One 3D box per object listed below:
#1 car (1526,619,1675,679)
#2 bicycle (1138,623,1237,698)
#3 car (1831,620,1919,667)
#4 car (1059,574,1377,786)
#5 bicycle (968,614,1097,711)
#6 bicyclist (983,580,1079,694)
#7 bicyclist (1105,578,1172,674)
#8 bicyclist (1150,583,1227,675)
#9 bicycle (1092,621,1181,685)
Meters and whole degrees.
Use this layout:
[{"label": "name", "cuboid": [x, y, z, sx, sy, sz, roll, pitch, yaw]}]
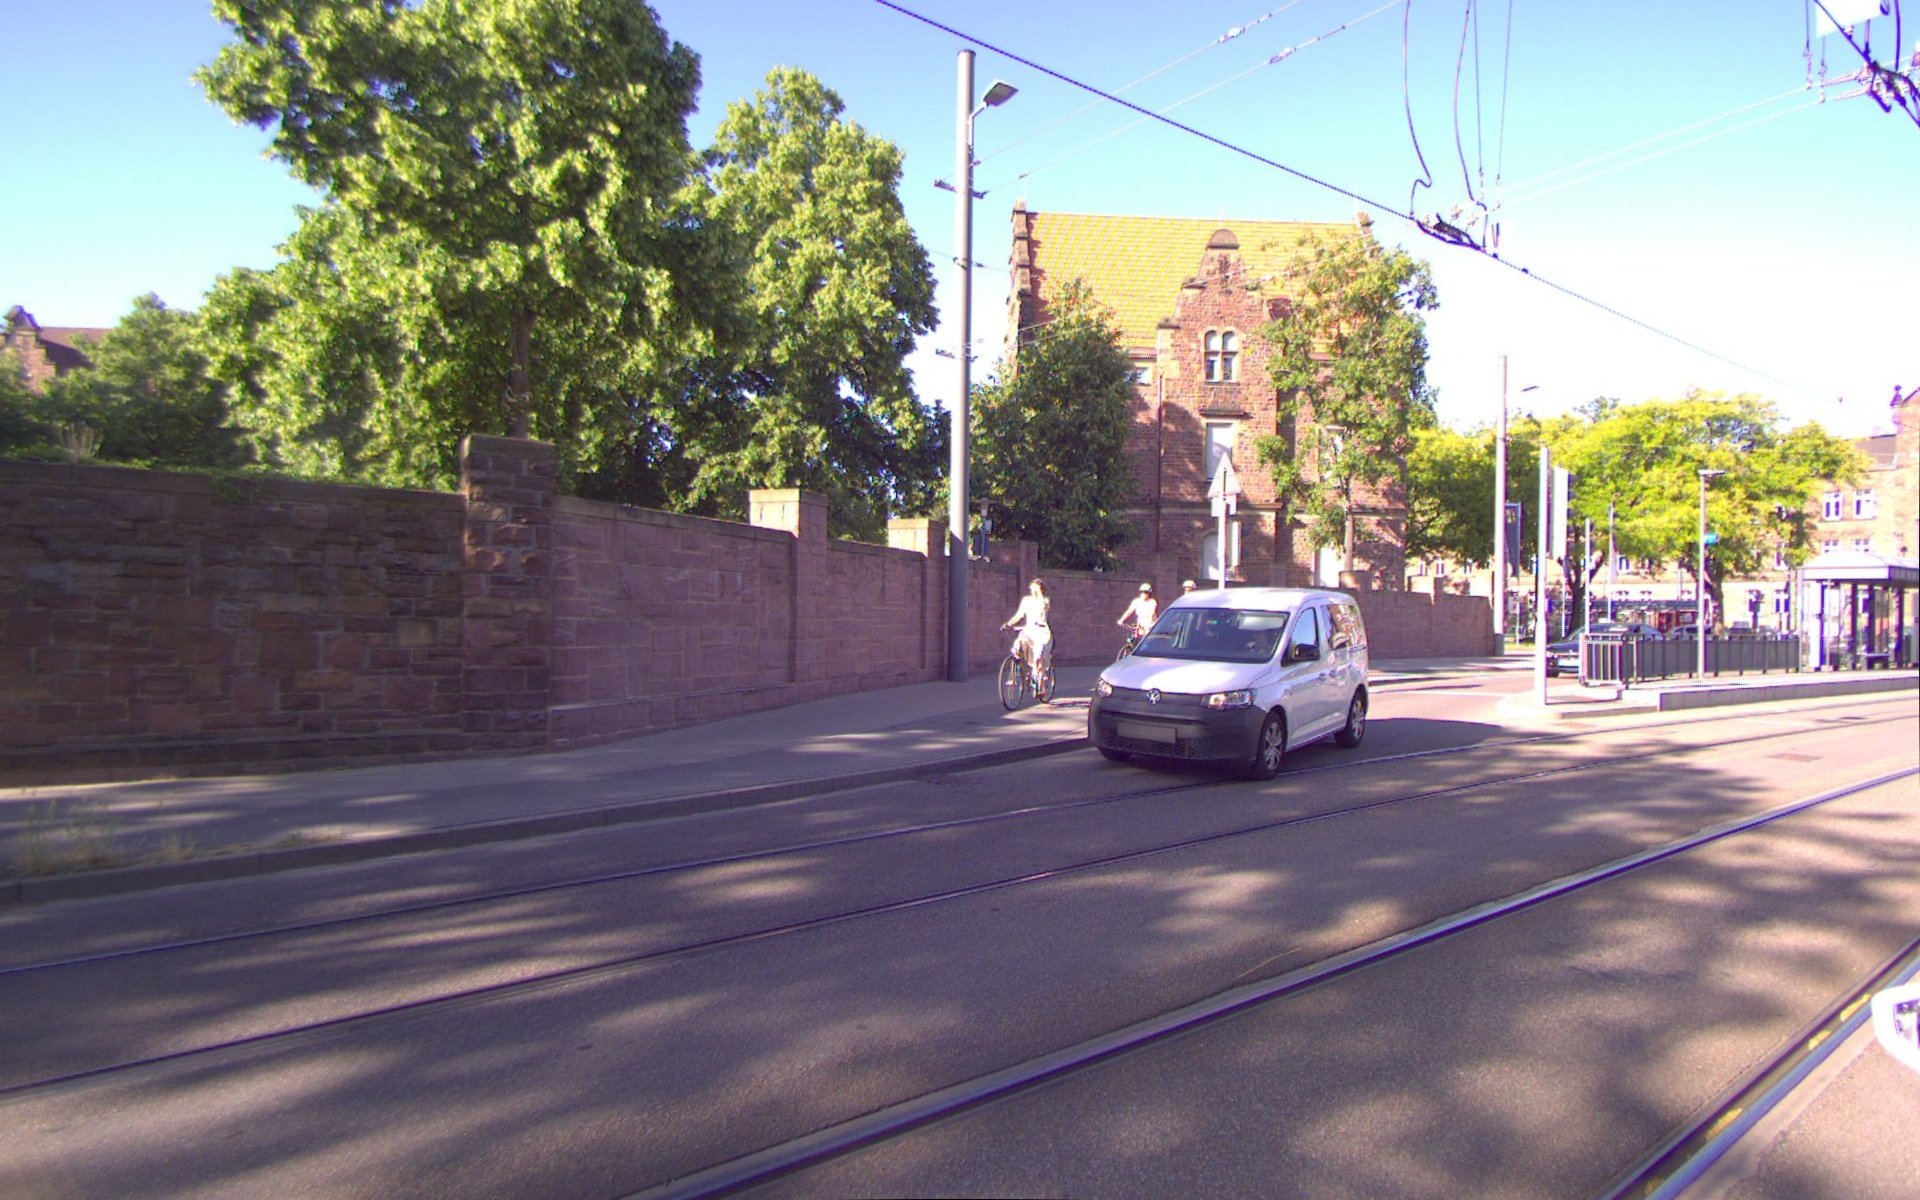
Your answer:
[{"label": "car", "cuboid": [16.428, 1.213, 25.692, 4.453, 1.400, 1.785, 1, -2, -37]}, {"label": "bicycle", "cuboid": [4.032, 1.033, 17.677, 0.768, 1.247, 2.077, -1, -2, 43]}, {"label": "car", "cuboid": [34.486, 1.632, 37.640, 4.285, 1.638, 1.815, 2, -1, -35]}, {"label": "car", "cuboid": [2.967, 0.738, 10.856, 1.804, 1.811, 4.238, 1, -1, 37]}, {"label": "bicycle", "cuboid": [1.037, 0.823, 13.903, 0.805, 1.214, 1.944, 2, 0, 39]}, {"label": "bicyclist", "cuboid": [0.993, 0.494, 13.915, 0.747, 1.490, 1.185, 2, 0, 39]}, {"label": "bicyclist", "cuboid": [3.314, 0.463, 18.648, 0.643, 1.697, 1.226, 2, 1, 42]}, {"label": "bicyclist", "cuboid": [4.034, 0.505, 17.671, 0.752, 1.557, 1.340, 0, -1, 43]}, {"label": "bicycle", "cuboid": [3.297, 0.957, 18.655, 0.661, 1.087, 2.004, 2, 1, 41]}]
